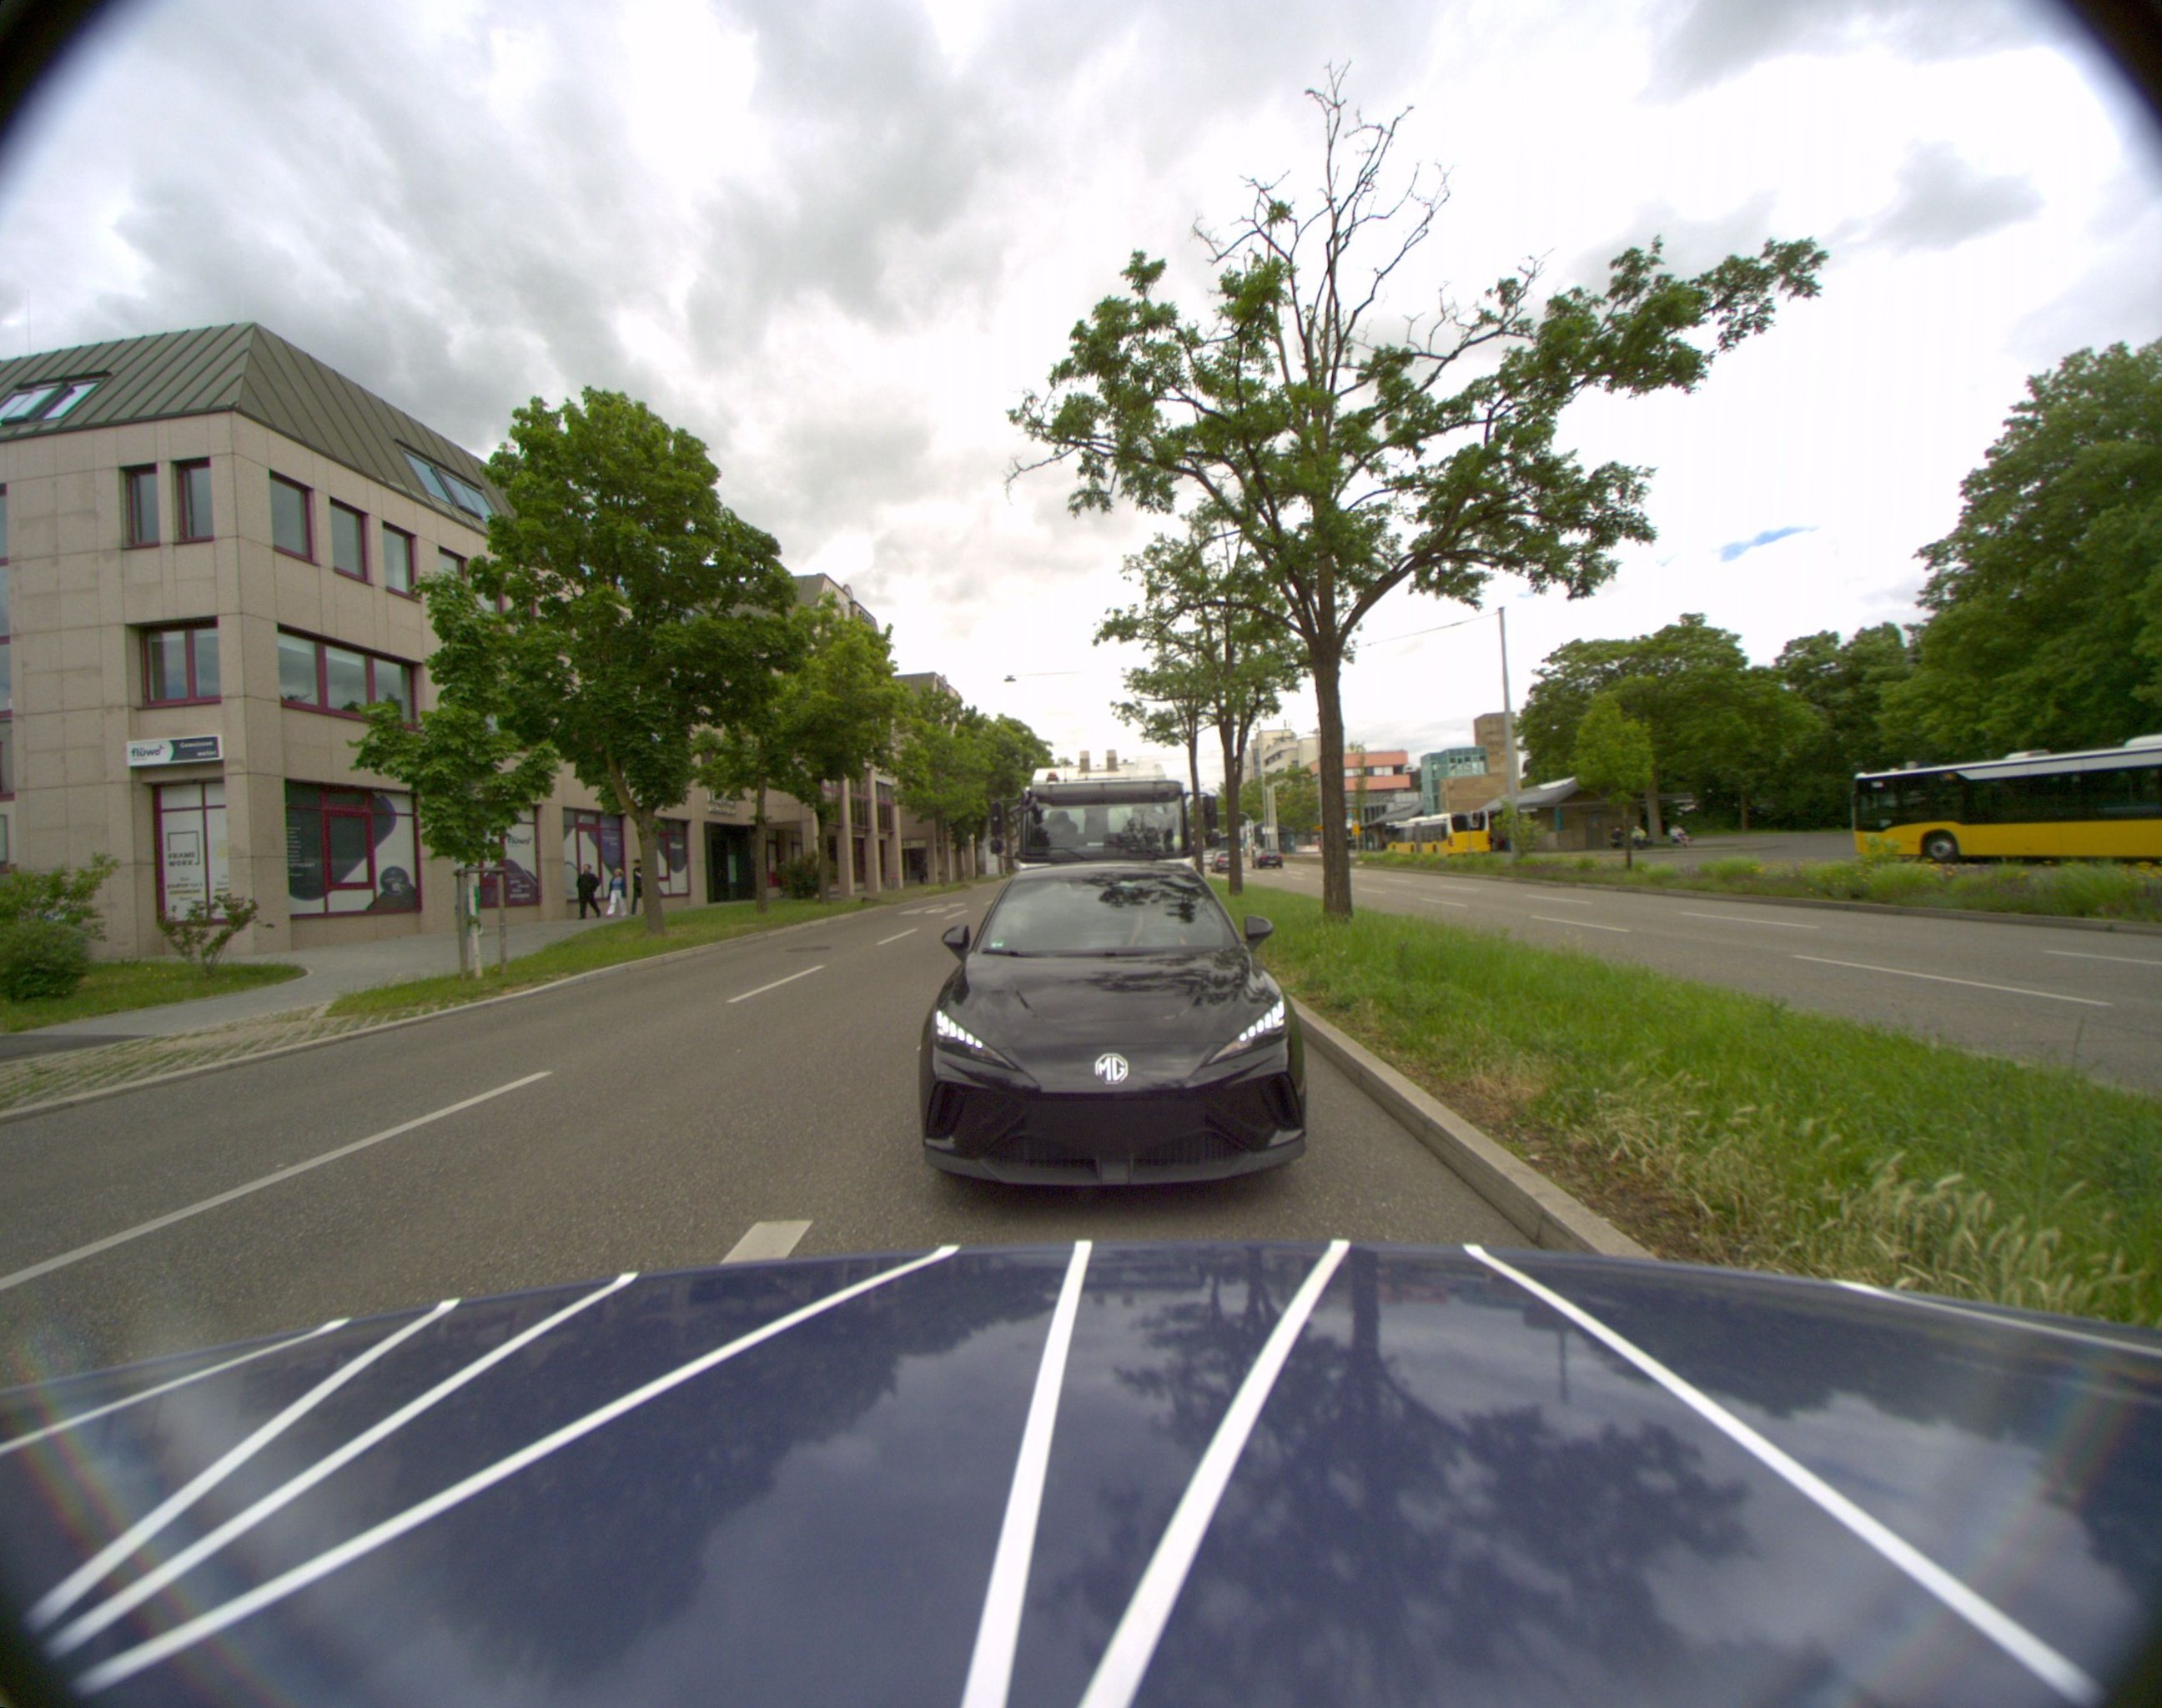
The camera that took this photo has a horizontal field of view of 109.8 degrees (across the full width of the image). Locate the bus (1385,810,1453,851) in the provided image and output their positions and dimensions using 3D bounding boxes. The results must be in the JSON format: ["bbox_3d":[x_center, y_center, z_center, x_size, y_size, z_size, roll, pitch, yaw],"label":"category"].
[{"bbox_3d":[27.559,-1.811,62.498,2.887,2.985,9.182,-3,0,10],"label":"bus"}]

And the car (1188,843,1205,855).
[{"bbox_3d":[16.866,-0.717,111.437,1.846,1.602,4.000,-3,0,1],"label":"car"}]

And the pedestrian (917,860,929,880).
[{"bbox_3d":[-11.532,1.174,55.450,0.667,1.397,0.519,-2,1,2],"label":"pedestrian"}]

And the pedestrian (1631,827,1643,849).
[{"bbox_3d":[30.185,-0.887,41.225,0.367,1.160,0.899,-2,1,26],"label":"pedestrian"}]

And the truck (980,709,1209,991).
[{"bbox_3d":[0.268,-0.053,12.581,2.544,3.187,7.369,-3,0,2],"label":"truck"}]

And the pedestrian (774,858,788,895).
[{"bbox_3d":[-13.990,1.052,35.405,0.400,1.683,0.400,-3,1,3],"label":"pedestrian"}]

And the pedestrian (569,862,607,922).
[{"bbox_3d":[-15.233,1.153,23.493,0.642,1.795,0.677,-3,1,1],"label":"pedestrian"}]

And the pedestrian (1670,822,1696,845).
[{"bbox_3d":[31.961,-1.080,40.346,0.650,1.165,0.925,-2,1,1],"label":"pedestrian"}]

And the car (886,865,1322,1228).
[{"bbox_3d":[0.128,0.868,5.295,1.827,1.430,4.000,-3,0,1],"label":"car"}]

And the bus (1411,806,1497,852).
[{"bbox_3d":[26.039,-1.646,53.571,2.887,2.793,9.182,-3,0,10],"label":"bus"}]

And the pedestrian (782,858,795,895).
[{"bbox_3d":[-13.615,1.038,35.410,0.380,1.683,0.356,-3,1,3],"label":"pedestrian"}]

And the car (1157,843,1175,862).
[{"bbox_3d":[9.451,-0.150,84.898,1.726,2.002,4.001,-3,0,3],"label":"car"}]

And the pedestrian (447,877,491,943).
[{"bbox_3d":[-14.531,1.324,18.048,0.496,1.510,0.677,0,1,1],"label":"pedestrian"}]

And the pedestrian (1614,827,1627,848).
[{"bbox_3d":[30.718,-0.958,43.263,0.598,1.155,0.744,-1,1,35],"label":"pedestrian"}]

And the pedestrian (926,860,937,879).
[{"bbox_3d":[-10.855,1.126,55.108,0.607,1.397,0.640,-2,1,3],"label":"pedestrian"}]

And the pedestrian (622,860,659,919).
[{"bbox_3d":[-13.740,1.093,23.710,0.642,1.795,0.677,-3,1,1],"label":"pedestrian"}]

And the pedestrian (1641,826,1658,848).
[{"bbox_3d":[30.656,-0.902,40.968,0.598,1.155,0.744,-2,1,26],"label":"pedestrian"}]

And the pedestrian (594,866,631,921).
[{"bbox_3d":[-14.537,1.217,23.601,0.642,1.637,0.677,-3,1,1],"label":"pedestrian"}]

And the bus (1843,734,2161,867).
[{"bbox_3d":[25.946,-1.281,19.604,2.888,2.985,10.397,-3,0,6],"label":"bus"}]

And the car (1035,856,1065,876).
[{"bbox_3d":[-2.287,0.864,57.249,1.657,1.417,3.537,-2,0,7],"label":"car"}]
